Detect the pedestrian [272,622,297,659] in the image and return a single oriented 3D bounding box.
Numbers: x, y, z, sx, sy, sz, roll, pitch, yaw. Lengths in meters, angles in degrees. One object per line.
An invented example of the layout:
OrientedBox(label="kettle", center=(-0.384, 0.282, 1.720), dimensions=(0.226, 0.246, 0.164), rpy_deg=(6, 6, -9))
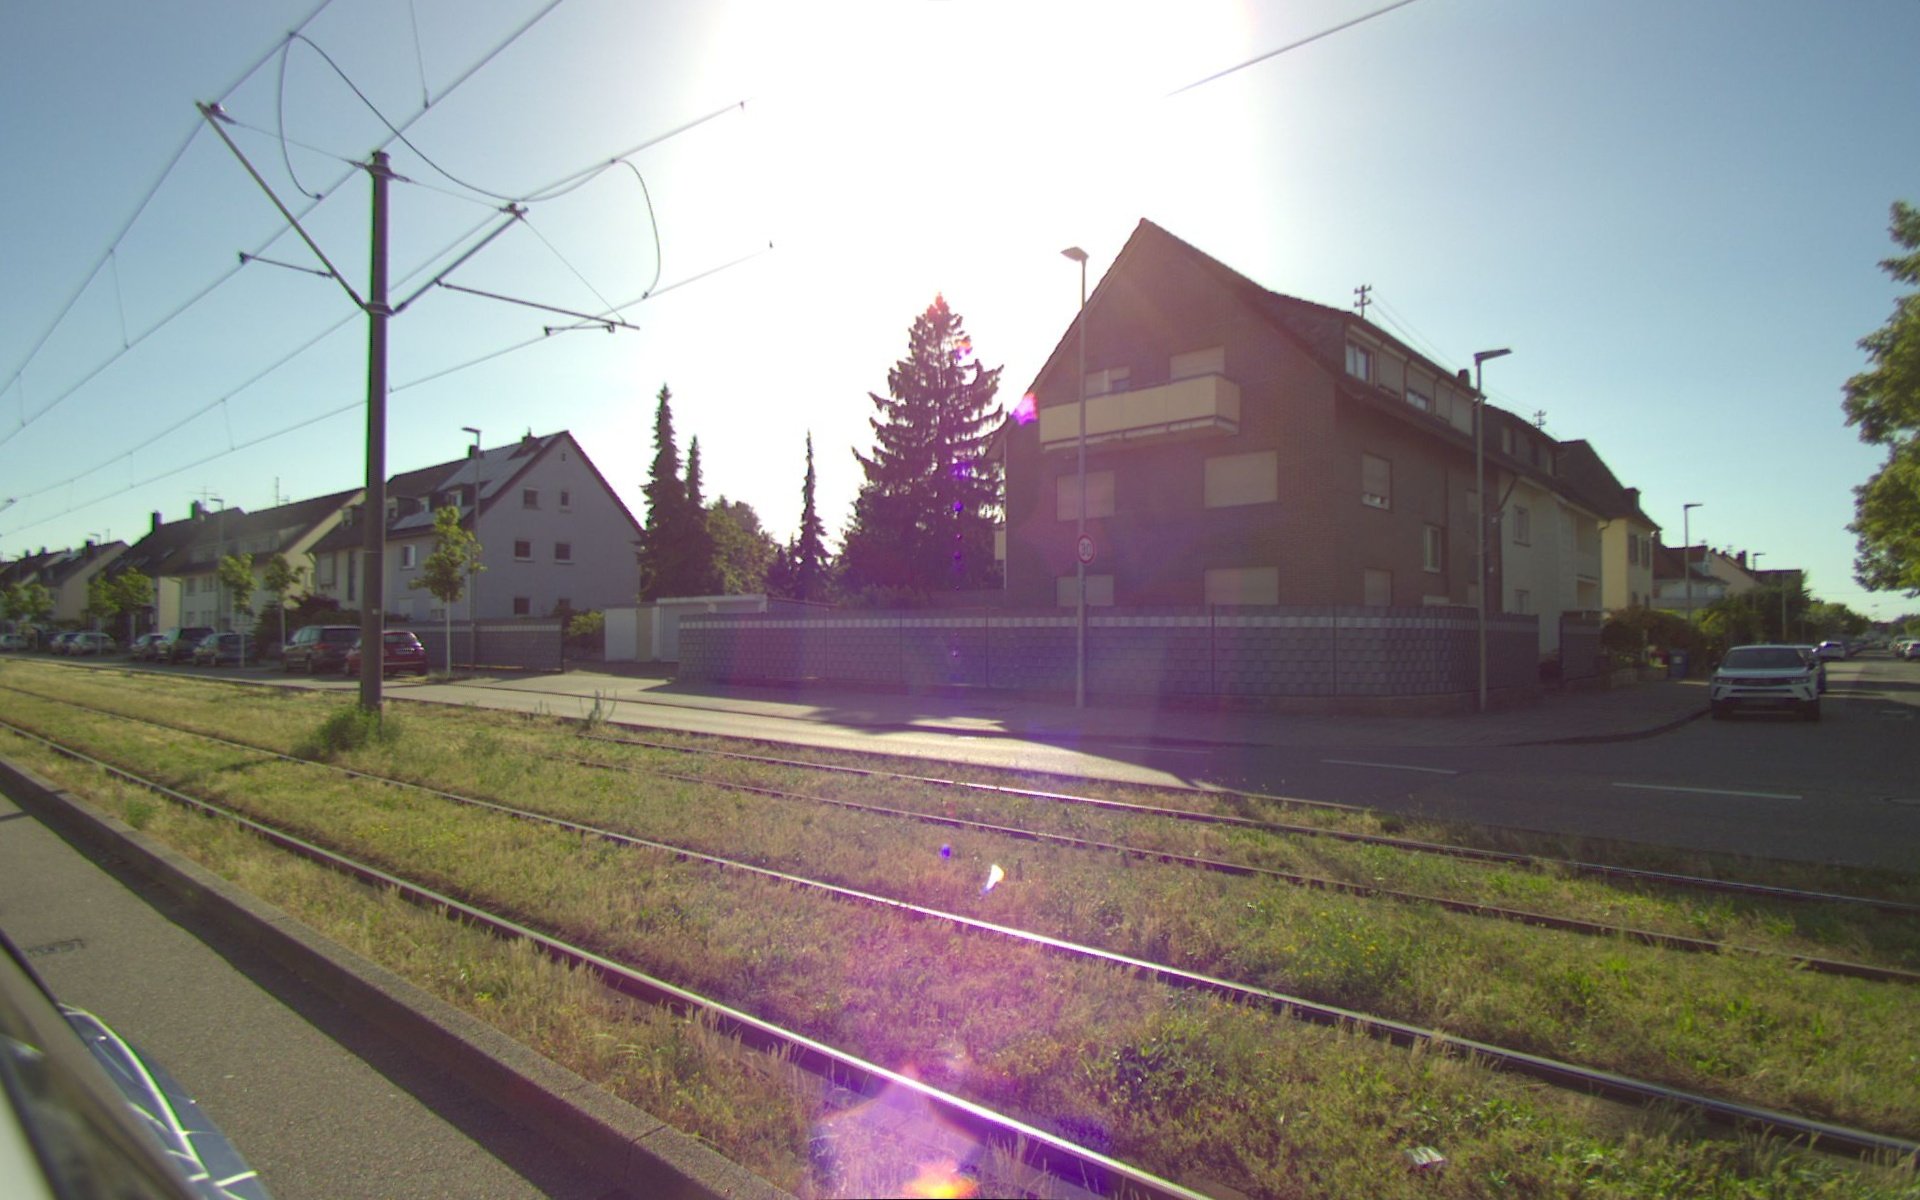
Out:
OrientedBox(label="pedestrian", center=(-30.134, 1.805, 45.161), dimensions=(0.918, 1.652, 0.689), rpy_deg=(-1, -1, 38))

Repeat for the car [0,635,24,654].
OrientedBox(label="car", center=(-77.649, 3.601, 82.259), dimensions=(4.097, 1.447, 1.642), rpy_deg=(-2, -2, 38))

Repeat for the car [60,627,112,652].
OrientedBox(label="car", center=(-55.058, 2.467, 63.756), dimensions=(4.437, 1.487, 1.672), rpy_deg=(-1, -1, 38))

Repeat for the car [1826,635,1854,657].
OrientedBox(label="car", center=(73.946, 3.819, 84.998), dimensions=(3.904, 1.678, 1.462), rpy_deg=(0, -1, -44))

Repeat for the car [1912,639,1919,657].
OrientedBox(label="car", center=(79.944, 3.962, 83.606), dimensions=(3.227, 1.343, 1.758), rpy_deg=(0, -1, -44))

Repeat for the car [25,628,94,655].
OrientedBox(label="car", center=(-81.274, 3.729, 91.381), dimensions=(1.785, 2.096, 4.417), rpy_deg=(-1, 1, 39))

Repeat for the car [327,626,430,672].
OrientedBox(label="car", center=(-19.296, 1.603, 33.525), dimensions=(4.076, 1.415, 1.678), rpy_deg=(-2, -3, 41))

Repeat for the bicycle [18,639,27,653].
OrientedBox(label="bicycle", center=(-81.549, 3.988, 88.014), dimensions=(1.872, 1.172, 0.472), rpy_deg=(-1, -1, 45))

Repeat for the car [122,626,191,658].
OrientedBox(label="car", center=(-42.093, 2.172, 52.981), dimensions=(4.552, 1.552, 1.941), rpy_deg=(-1, -1, 40))

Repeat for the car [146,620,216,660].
OrientedBox(label="car", center=(-38.005, 1.942, 49.340), dimensions=(4.837, 1.837, 1.727), rpy_deg=(-2, -1, 40))

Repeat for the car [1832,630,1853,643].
OrientedBox(label="car", center=(95.154, 3.927, 109.086), dimensions=(3.227, 1.343, 1.436), rpy_deg=(0, -1, -44))

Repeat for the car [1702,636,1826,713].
OrientedBox(label="car", center=(17.042, 1.528, 21.420), dimensions=(1.838, 1.440, 3.821), rpy_deg=(-4, -4, 40))

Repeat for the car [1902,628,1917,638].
OrientedBox(label="car", center=(120.485, 4.175, 128.389), dimensions=(2.909, 1.143, 1.303), rpy_deg=(0, -1, -44))

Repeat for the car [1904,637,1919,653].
OrientedBox(label="car", center=(86.501, 4.065, 91.616), dimensions=(3.227, 1.343, 1.324), rpy_deg=(0, -1, -44))

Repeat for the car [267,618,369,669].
OrientedBox(label="car", center=(-23.536, 1.562, 37.023), dimensions=(4.842, 1.697, 1.801), rpy_deg=(-2, -1, 40))

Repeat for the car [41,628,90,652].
OrientedBox(label="car", center=(-59.829, 2.649, 67.662), dimensions=(4.309, 1.484, 1.672), rpy_deg=(-1, -1, 38))

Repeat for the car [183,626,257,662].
OrientedBox(label="car", center=(-33.389, 1.948, 45.611), dimensions=(4.044, 1.502, 1.660), rpy_deg=(-2, -1, 38))
